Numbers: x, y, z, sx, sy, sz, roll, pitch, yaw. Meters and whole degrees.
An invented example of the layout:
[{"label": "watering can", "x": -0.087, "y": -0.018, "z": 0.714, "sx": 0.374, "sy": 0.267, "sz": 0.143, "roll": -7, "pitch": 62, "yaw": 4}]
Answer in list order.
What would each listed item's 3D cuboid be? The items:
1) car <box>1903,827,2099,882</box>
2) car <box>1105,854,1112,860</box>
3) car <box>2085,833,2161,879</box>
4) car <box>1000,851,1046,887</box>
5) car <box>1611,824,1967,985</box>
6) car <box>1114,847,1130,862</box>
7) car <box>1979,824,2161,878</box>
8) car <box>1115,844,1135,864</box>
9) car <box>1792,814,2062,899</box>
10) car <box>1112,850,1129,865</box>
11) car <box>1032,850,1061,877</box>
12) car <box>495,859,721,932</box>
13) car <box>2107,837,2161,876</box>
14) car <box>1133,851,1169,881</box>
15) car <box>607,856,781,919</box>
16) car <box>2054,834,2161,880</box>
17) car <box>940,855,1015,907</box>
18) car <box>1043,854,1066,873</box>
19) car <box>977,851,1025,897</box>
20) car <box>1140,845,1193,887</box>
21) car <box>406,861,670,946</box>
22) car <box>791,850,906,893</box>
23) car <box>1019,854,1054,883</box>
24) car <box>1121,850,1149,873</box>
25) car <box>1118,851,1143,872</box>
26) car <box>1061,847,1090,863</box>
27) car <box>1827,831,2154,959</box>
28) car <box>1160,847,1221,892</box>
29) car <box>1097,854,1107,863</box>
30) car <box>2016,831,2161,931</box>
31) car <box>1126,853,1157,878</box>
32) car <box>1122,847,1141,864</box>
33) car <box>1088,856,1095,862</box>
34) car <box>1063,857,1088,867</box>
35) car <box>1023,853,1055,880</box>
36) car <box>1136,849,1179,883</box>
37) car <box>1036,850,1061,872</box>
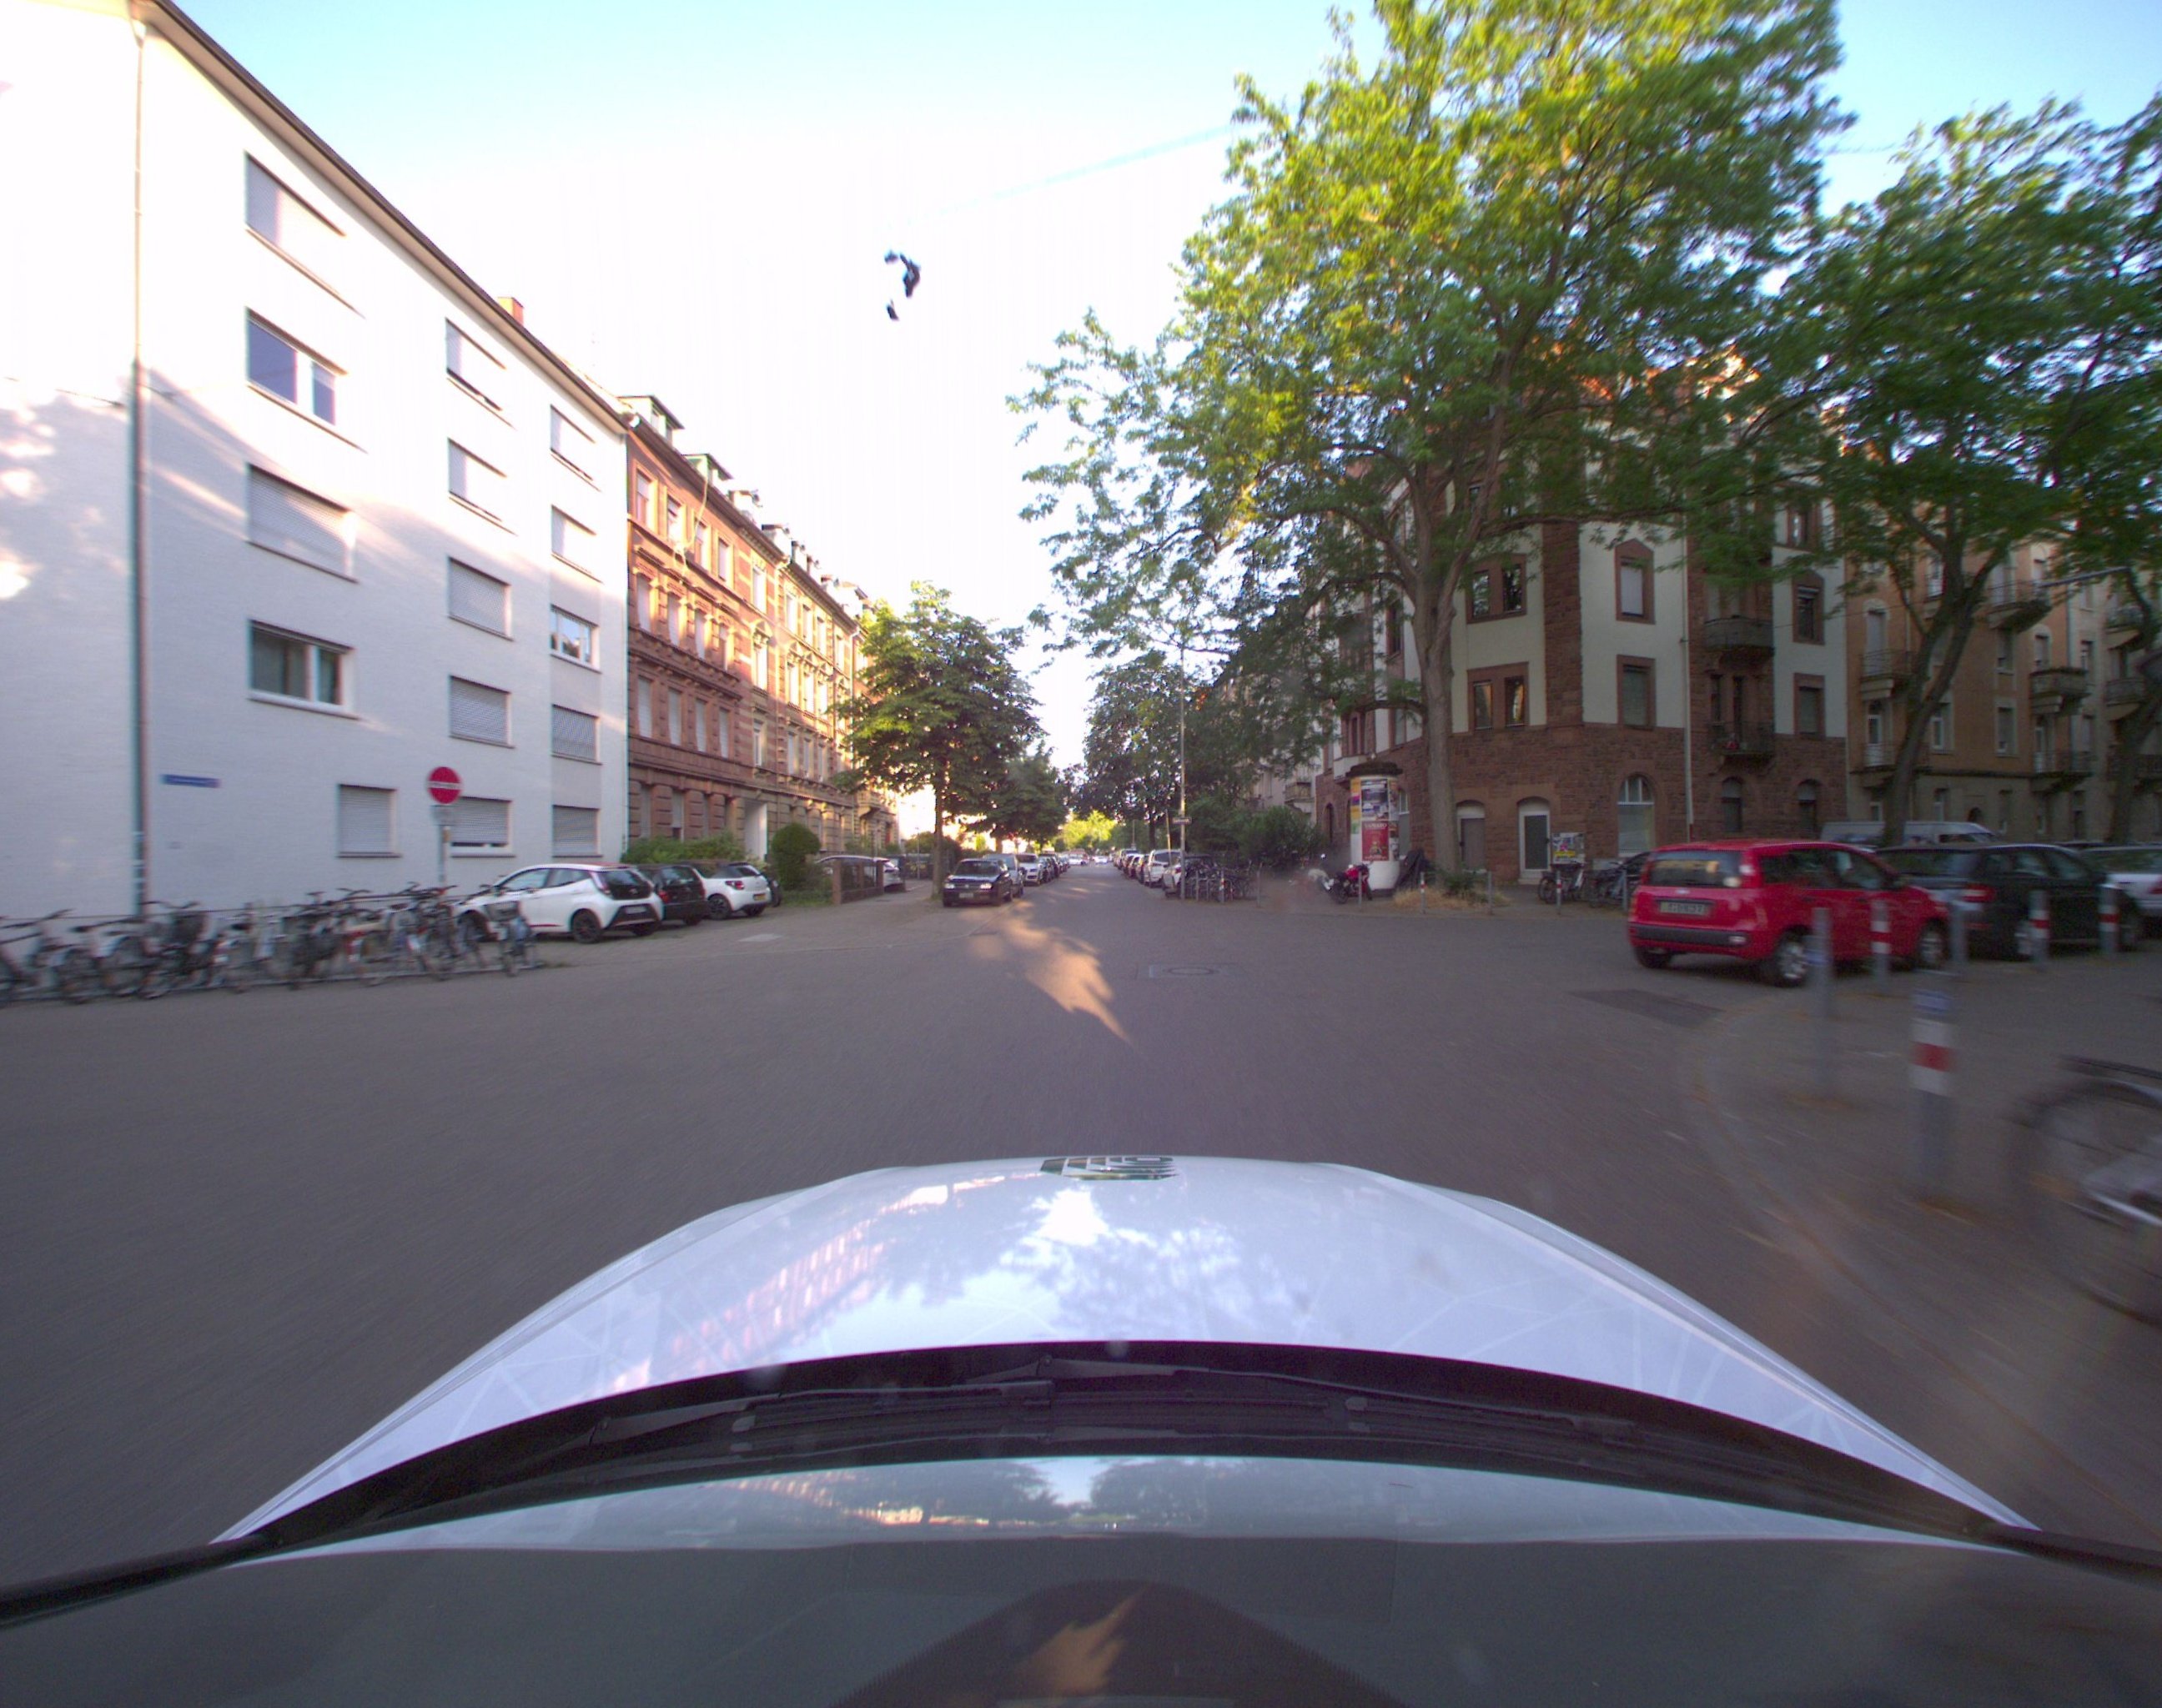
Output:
[{"label": "car", "x": 31.082, "y": 0.011, "z": 27.710, "sx": 1.993, "sy": 1.706, "sz": 3.988, "roll": -1, "pitch": 0, "yaw": -9}, {"label": "car", "x": 7.373, "y": 0.756, "z": 219.606, "sx": 1.710, "sy": 1.596, "sz": 3.483, "roll": 0, "pitch": 0, "yaw": 1}, {"label": "car", "x": 42.051, "y": 0.047, "z": 31.267, "sx": 1.998, "sy": 1.750, "sz": 3.977, "roll": -1, "pitch": 0, "yaw": -17}, {"label": "car", "x": -2.904, "y": 0.706, "z": 41.654, "sx": 1.914, "sy": 1.717, "sz": 4.429, "roll": 0, "pitch": 0, "yaw": 1}, {"label": "car", "x": 8.235, "y": 0.476, "z": 9.521, "sx": 3.477, "sy": 1.573, "sz": 1.616, "roll": -2, "pitch": 1, "yaw": -19}, {"label": "car", "x": 5.027, "y": 0.103, "z": 100.932, "sx": 1.682, "sy": 1.811, "sz": 3.937, "roll": 0, "pitch": 0, "yaw": -1}, {"label": "car", "x": 36.080, "y": -0.096, "z": 29.725, "sx": 1.993, "sy": 1.816, "sz": 3.988, "roll": -1, "pitch": 0, "yaw": -8}, {"label": "car", "x": 4.308, "y": 0.044, "z": 80.298, "sx": 1.675, "sy": 1.941, "sz": 3.878, "roll": 0, "pitch": 0, "yaw": -1}, {"label": "car", "x": 26.748, "y": 0.065, "z": 26.090, "sx": 2.401, "sy": 2.418, "sz": 5.510, "roll": -1, "pitch": 0, "yaw": -21}, {"label": "car", "x": 4.596, "y": 0.407, "z": 94.532, "sx": 1.682, "sy": 1.606, "sz": 3.937, "roll": 0, "pitch": 0, "yaw": -1}, {"label": "car", "x": -2.325, "y": 0.619, "z": 55.354, "sx": 1.709, "sy": 1.790, "sz": 4.216, "roll": 0, "pitch": 0, "yaw": 1}, {"label": "car", "x": -10.357, "y": 0.859, "z": 17.964, "sx": 4.066, "sy": 1.447, "sz": 1.823, "roll": 0, "pitch": 1, "yaw": 11}, {"label": "car", "x": 44.141, "y": 0.074, "z": 32.232, "sx": 2.000, "sy": 1.552, "sz": 3.974, "roll": -1, "pitch": 0, "yaw": -19}, {"label": "car", "x": 3.952, "y": 0.676, "z": 46.572, "sx": 1.682, "sy": 1.606, "sz": 3.746, "roll": 0, "pitch": 0, "yaw": -1}, {"label": "car", "x": -9.735, "y": 0.815, "z": 20.615, "sx": 3.541, "sy": 1.447, "sz": 1.822, "roll": 0, "pitch": 1, "yaw": 9}, {"label": "car", "x": 39.967, "y": 0.103, "z": 30.603, "sx": 1.774, "sy": 1.670, "sz": 3.979, "roll": -1, "pitch": 0, "yaw": -15}, {"label": "car", "x": -3.161, "y": 0.786, "z": 25.533, "sx": 1.609, "sy": 1.470, "sz": 3.965, "roll": 0, "pitch": 0, "yaw": 4}, {"label": "car", "x": -2.180, "y": 0.755, "z": 67.368, "sx": 1.710, "sy": 1.465, "sz": 3.988, "roll": 0, "pitch": 0, "yaw": 1}, {"label": "car", "x": -2.950, "y": 0.680, "z": 30.618, "sx": 1.591, "sy": 1.603, "sz": 3.741, "roll": 0, "pitch": 0, "yaw": -2}, {"label": "car", "x": 3.784, "y": 0.520, "z": 36.722, "sx": 1.793, "sy": 1.711, "sz": 4.598, "roll": -1, "pitch": 0, "yaw": -1}, {"label": "car", "x": -10.241, "y": 0.886, "z": 15.499, "sx": 4.068, "sy": 1.447, "sz": 1.714, "roll": 0, "pitch": 1, "yaw": 9}, {"label": "car", "x": -9.294, "y": 0.673, "z": 32.755, "sx": 4.080, "sy": 1.527, "sz": 1.709, "roll": 2, "pitch": 0, "yaw": -1}, {"label": "car", "x": -2.530, "y": 0.815, "z": 47.129, "sx": 1.710, "sy": 1.566, "sz": 3.781, "roll": 0, "pitch": -1, "yaw": 1}, {"label": "car", "x": 3.959, "y": 0.551, "z": 60.046, "sx": 1.682, "sy": 1.606, "sz": 3.937, "roll": 0, "pitch": 0, "yaw": -1}, {"label": "car", "x": 3.899, "y": 0.589, "z": 64.616, "sx": 1.682, "sy": 1.606, "sz": 3.937, "roll": 0, "pitch": 0, "yaw": -1}, {"label": "car", "x": -0.832, "y": 0.126, "z": 122.911, "sx": 4.337, "sy": 2.318, "sz": 1.745, "roll": 0, "pitch": 0, "yaw": -1}, {"label": "car", "x": 12.229, "y": 0.471, "z": 10.963, "sx": 3.897, "sy": 1.507, "sz": 1.615, "roll": 0, "pitch": 1, "yaw": -20}, {"label": "car", "x": 4.090, "y": 0.554, "z": 30.928, "sx": 1.683, "sy": 1.592, "sz": 3.655, "roll": -1, "pitch": 0, "yaw": -3}, {"label": "car", "x": 3.833, "y": 0.804, "z": 151.439, "sx": 1.807, "sy": 1.596, "sz": 3.483, "roll": 0, "pitch": 0, "yaw": 1}, {"label": "car", "x": 17.237, "y": 0.405, "z": 12.988, "sx": 4.235, "sy": 1.429, "sz": 1.646, "roll": 0, "pitch": -1, "yaw": -20}, {"label": "car", "x": 3.836, "y": 0.733, "z": 51.954, "sx": 1.681, "sy": 1.441, "sz": 4.210, "roll": -3, "pitch": 0, "yaw": 1}, {"label": "car", "x": 4.699, "y": 0.159, "z": 76.488, "sx": 1.534, "sy": 1.521, "sz": 3.429, "roll": 0, "pitch": 0, "yaw": -1}, {"label": "car", "x": 2.768, "y": 1.213, "z": 213.190, "sx": 1.710, "sy": 1.596, "sz": 3.483, "roll": 0, "pitch": 0, "yaw": 1}, {"label": "car", "x": -0.794, "y": 1.155, "z": 120.015, "sx": 3.610, "sy": 1.461, "sz": 1.605, "roll": 0, "pitch": 0, "yaw": -3}, {"label": "car", "x": -2.619, "y": 0.753, "z": 51.297, "sx": 1.710, "sy": 1.566, "sz": 3.789, "roll": 0, "pitch": 0, "yaw": 1}, {"label": "car", "x": 3.859, "y": 0.604, "z": 41.525, "sx": 1.682, "sy": 1.606, "sz": 4.207, "roll": 0, "pitch": 0, "yaw": -1}, {"label": "car", "x": -2.471, "y": 0.533, "z": 62.851, "sx": 1.709, "sy": 1.596, "sz": 4.520, "roll": 0, "pitch": 0, "yaw": 1}]
